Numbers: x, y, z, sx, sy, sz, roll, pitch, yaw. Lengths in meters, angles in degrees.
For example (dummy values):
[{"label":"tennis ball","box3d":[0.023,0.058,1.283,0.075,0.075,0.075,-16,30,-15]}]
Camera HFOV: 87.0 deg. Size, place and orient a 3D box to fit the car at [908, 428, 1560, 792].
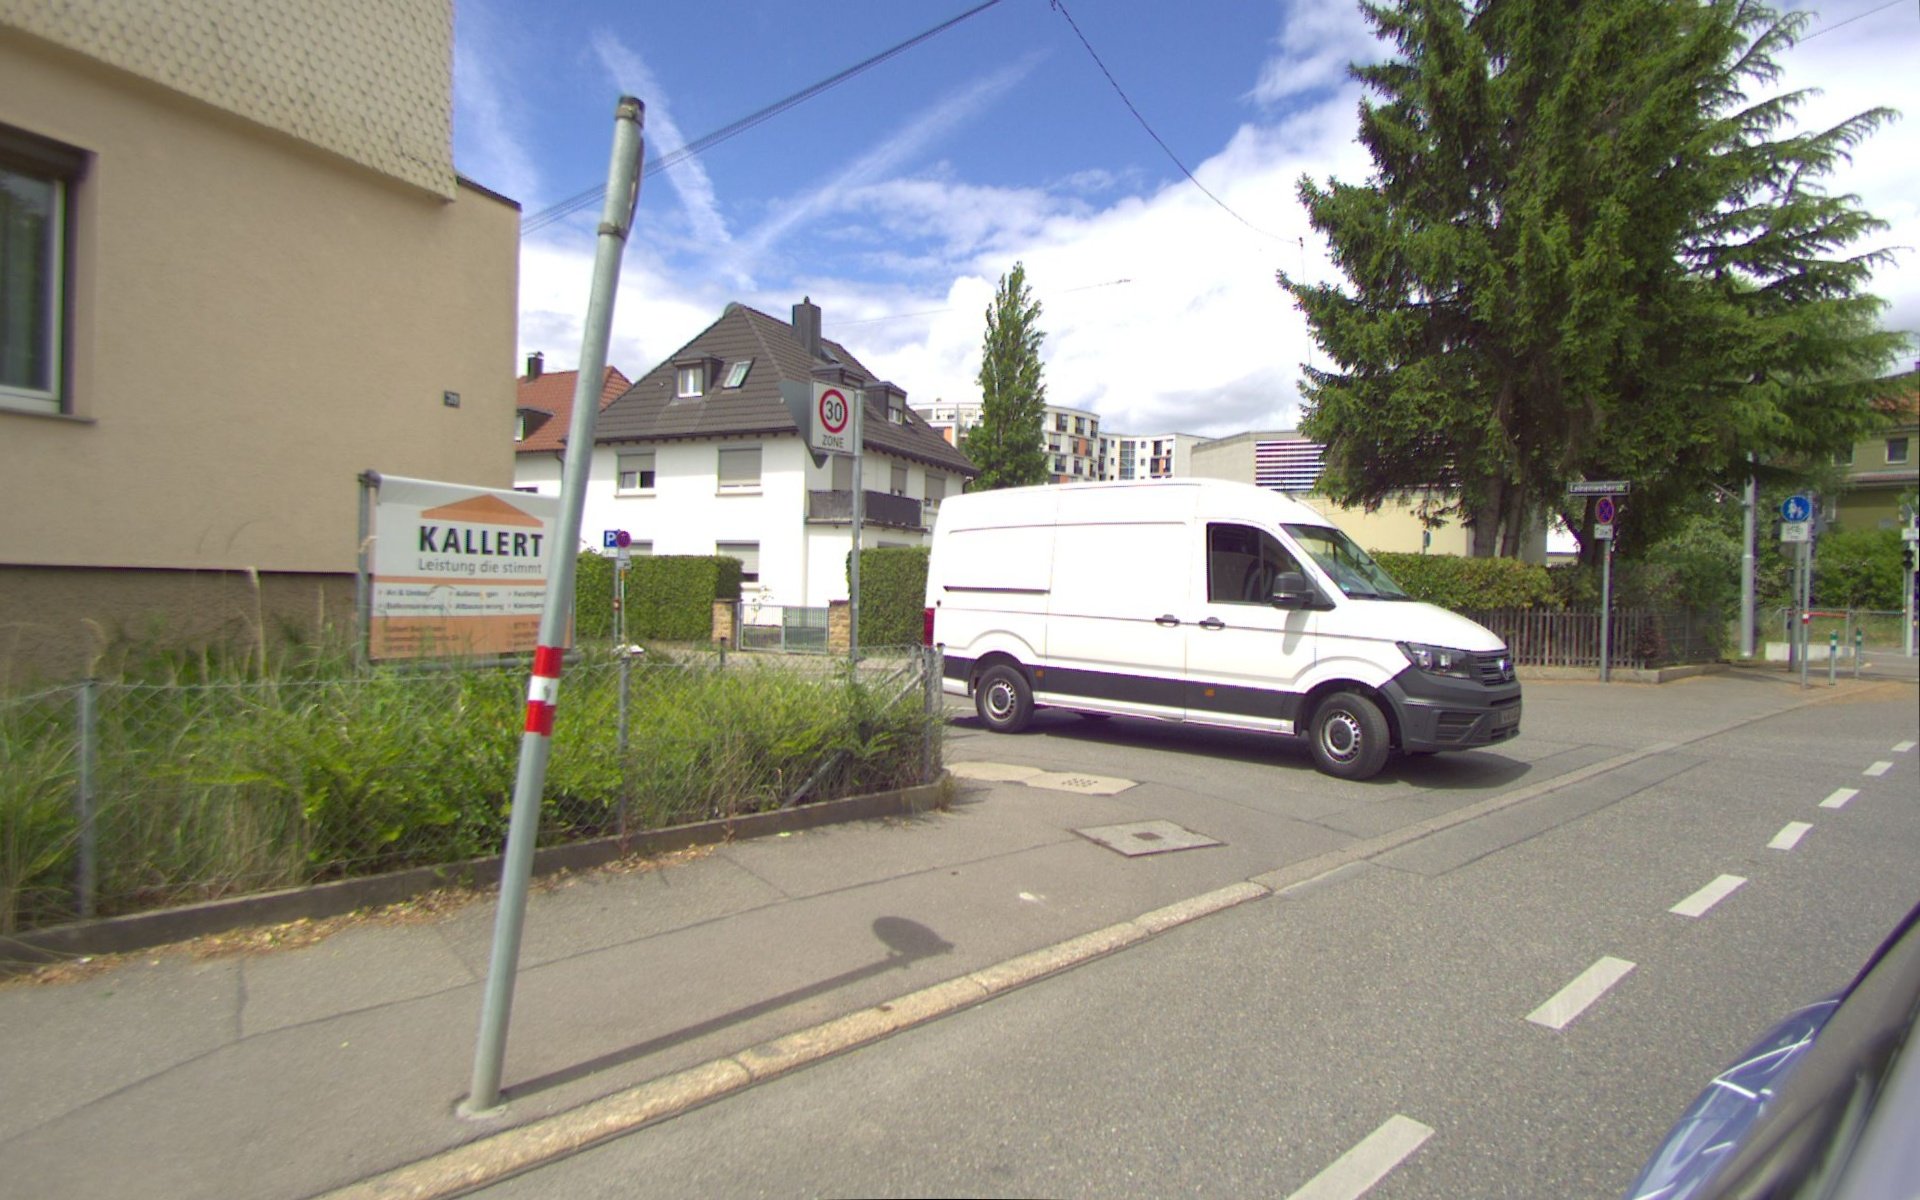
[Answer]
[{"label":"car","box3d":[2.299,0.005,10.029,5.993,2.614,1.969,2,0,42]}]
